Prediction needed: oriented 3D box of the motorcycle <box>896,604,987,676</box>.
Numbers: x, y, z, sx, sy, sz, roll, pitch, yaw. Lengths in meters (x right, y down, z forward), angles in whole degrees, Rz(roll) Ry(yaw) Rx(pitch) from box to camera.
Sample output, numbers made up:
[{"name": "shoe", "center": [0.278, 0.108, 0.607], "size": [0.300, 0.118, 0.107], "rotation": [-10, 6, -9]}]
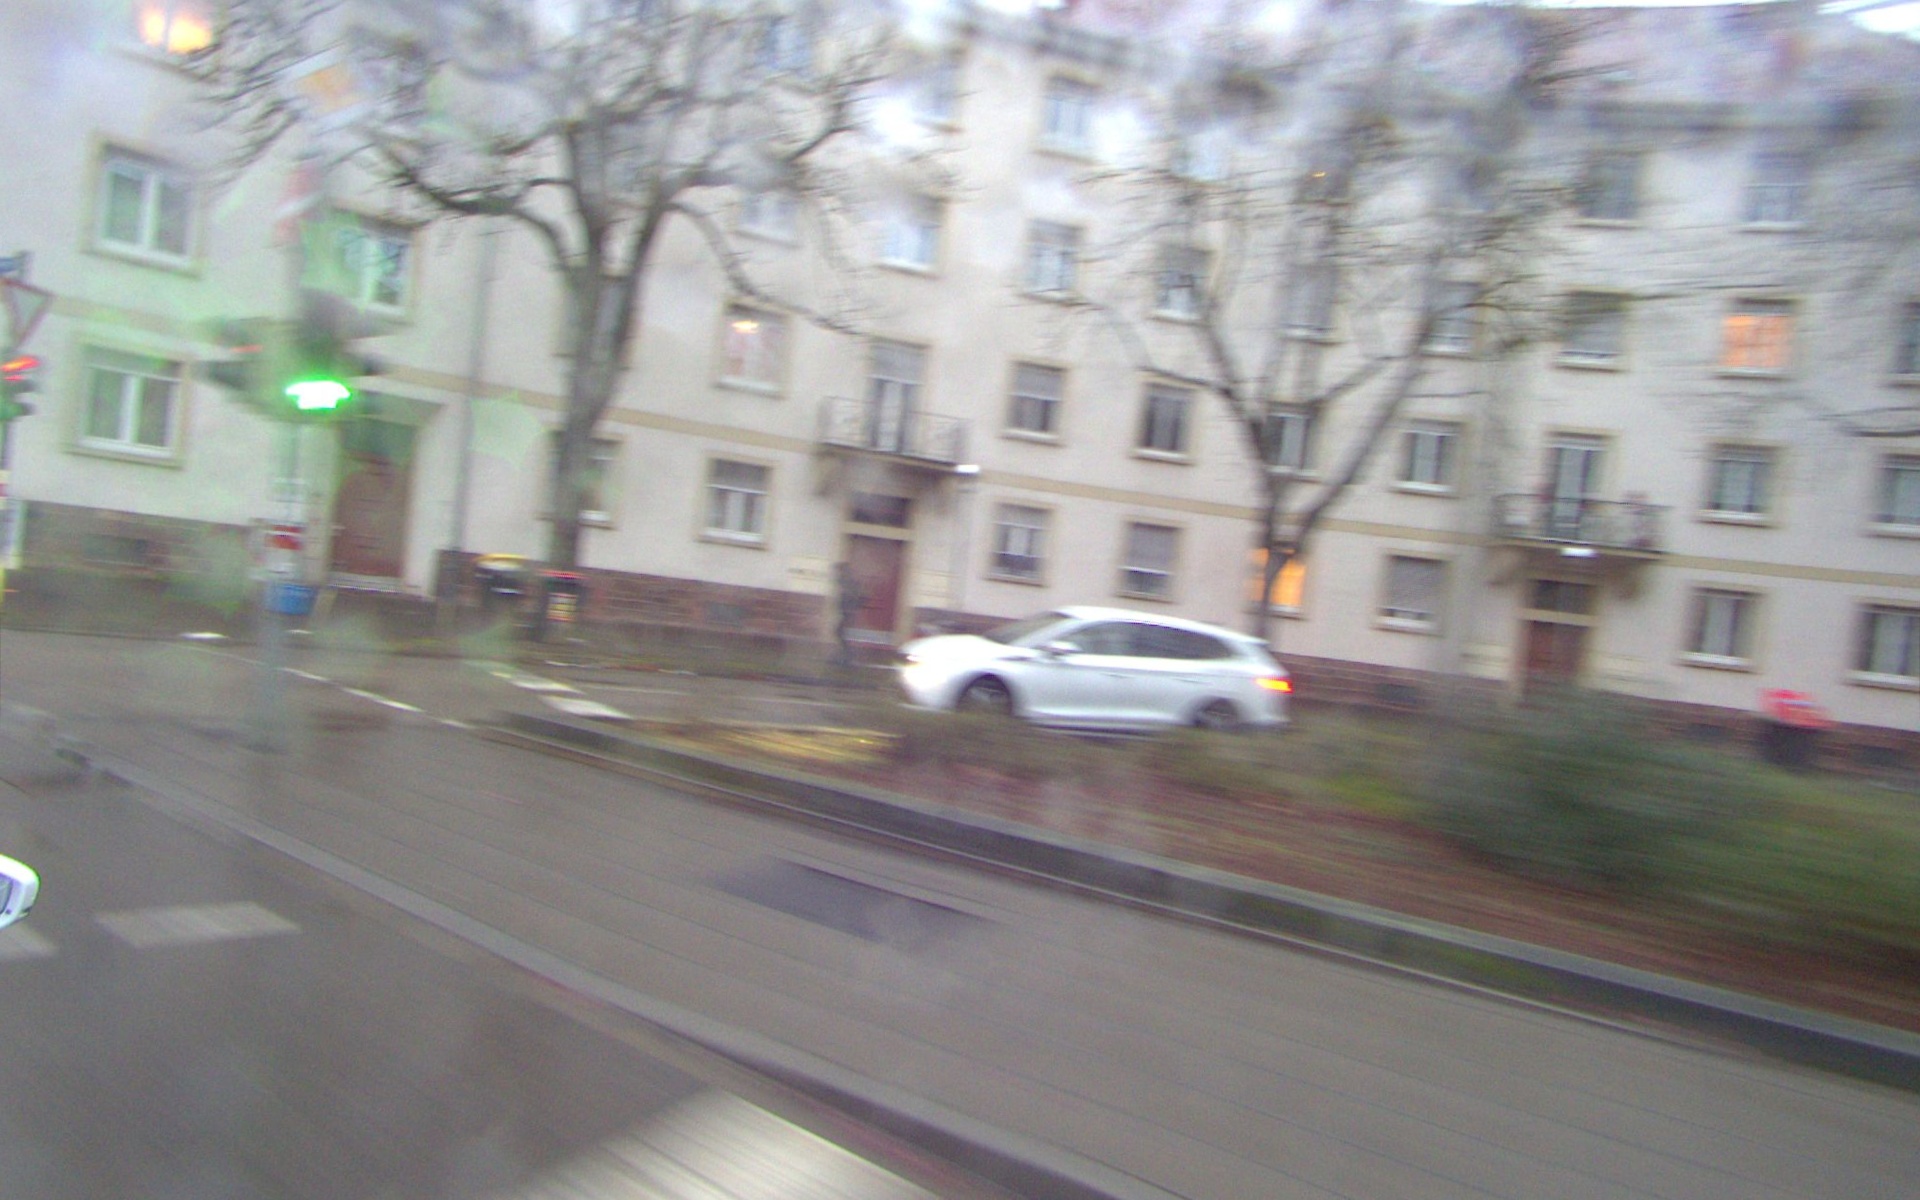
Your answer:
[{"name": "motorcycle", "center": [-0.364, 0.741, 18.896], "size": [1.574, 1.120, 0.568], "rotation": [7, 3, -4]}]

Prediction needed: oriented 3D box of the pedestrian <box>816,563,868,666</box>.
[{"name": "pedestrian", "center": [-2.049, 0.244, 17.432], "size": [0.702, 1.682, 0.686], "rotation": [6, 1, -9]}]

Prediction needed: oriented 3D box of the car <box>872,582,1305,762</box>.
[{"name": "car", "center": [1.386, 0.802, 11.947], "size": [4.670, 1.529, 1.896], "rotation": [6, 1, -7]}]

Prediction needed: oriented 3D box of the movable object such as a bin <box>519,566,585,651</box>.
[{"name": "movable object such as a bin", "center": [-5.954, 0.125, 14.699], "size": [0.691, 1.132, 0.537], "rotation": [9, -2, -16]}]

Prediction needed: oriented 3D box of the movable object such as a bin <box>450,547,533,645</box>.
[{"name": "movable object such as a bin", "center": [-6.719, -0.055, 14.454], "size": [0.842, 1.266, 0.520], "rotation": [9, -2, -16]}]
